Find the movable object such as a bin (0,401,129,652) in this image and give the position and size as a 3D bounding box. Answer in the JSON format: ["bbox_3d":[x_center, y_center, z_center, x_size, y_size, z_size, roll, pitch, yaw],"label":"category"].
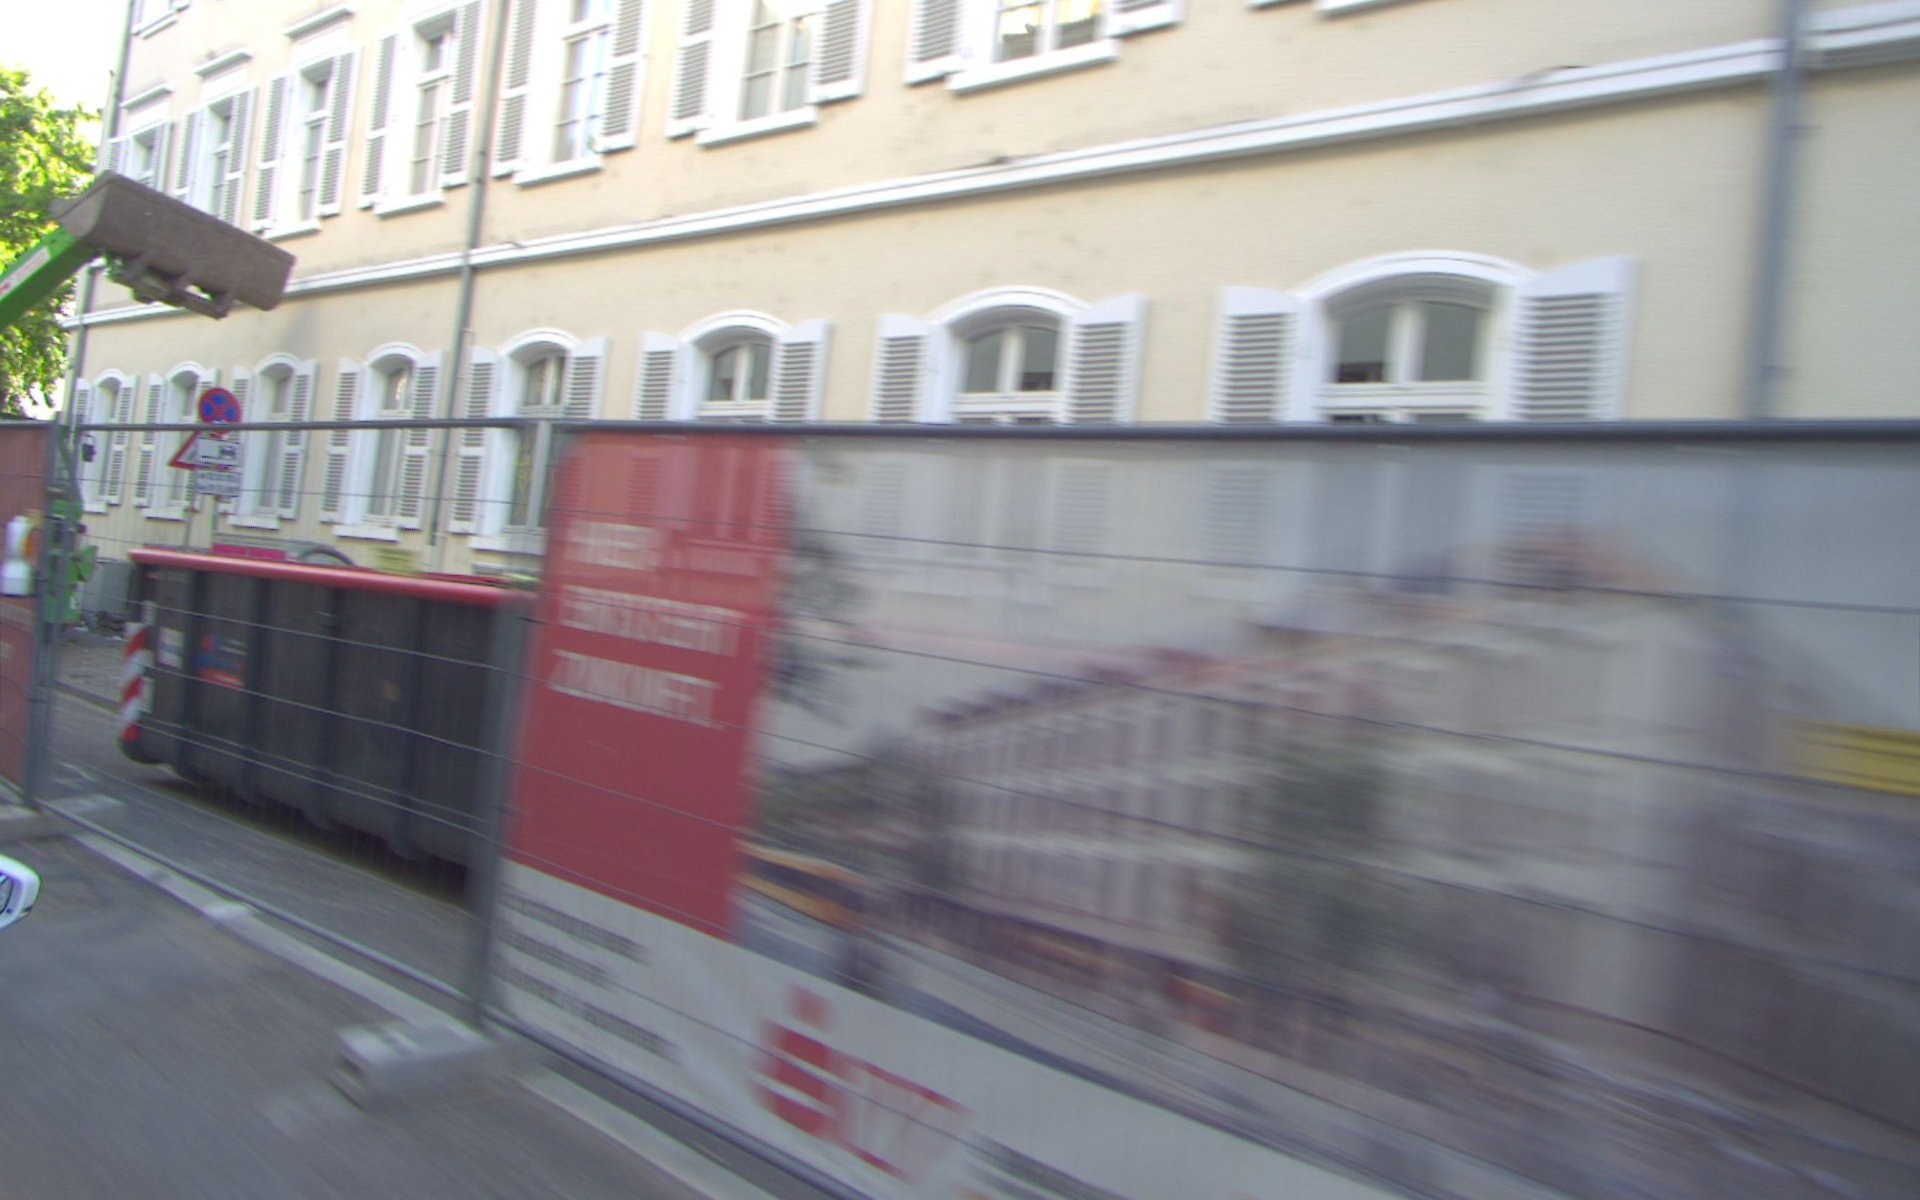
[{"bbox_3d":[-13.162,-1.063,12.744,4.377,2.873,2.608,6,-1,32],"label":"movable object such as a bin"}]

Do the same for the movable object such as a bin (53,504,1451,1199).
[{"bbox_3d":[-1.614,0.688,5.471,7.426,1.657,2.743,6,-3,31],"label":"movable object such as a bin"}]
